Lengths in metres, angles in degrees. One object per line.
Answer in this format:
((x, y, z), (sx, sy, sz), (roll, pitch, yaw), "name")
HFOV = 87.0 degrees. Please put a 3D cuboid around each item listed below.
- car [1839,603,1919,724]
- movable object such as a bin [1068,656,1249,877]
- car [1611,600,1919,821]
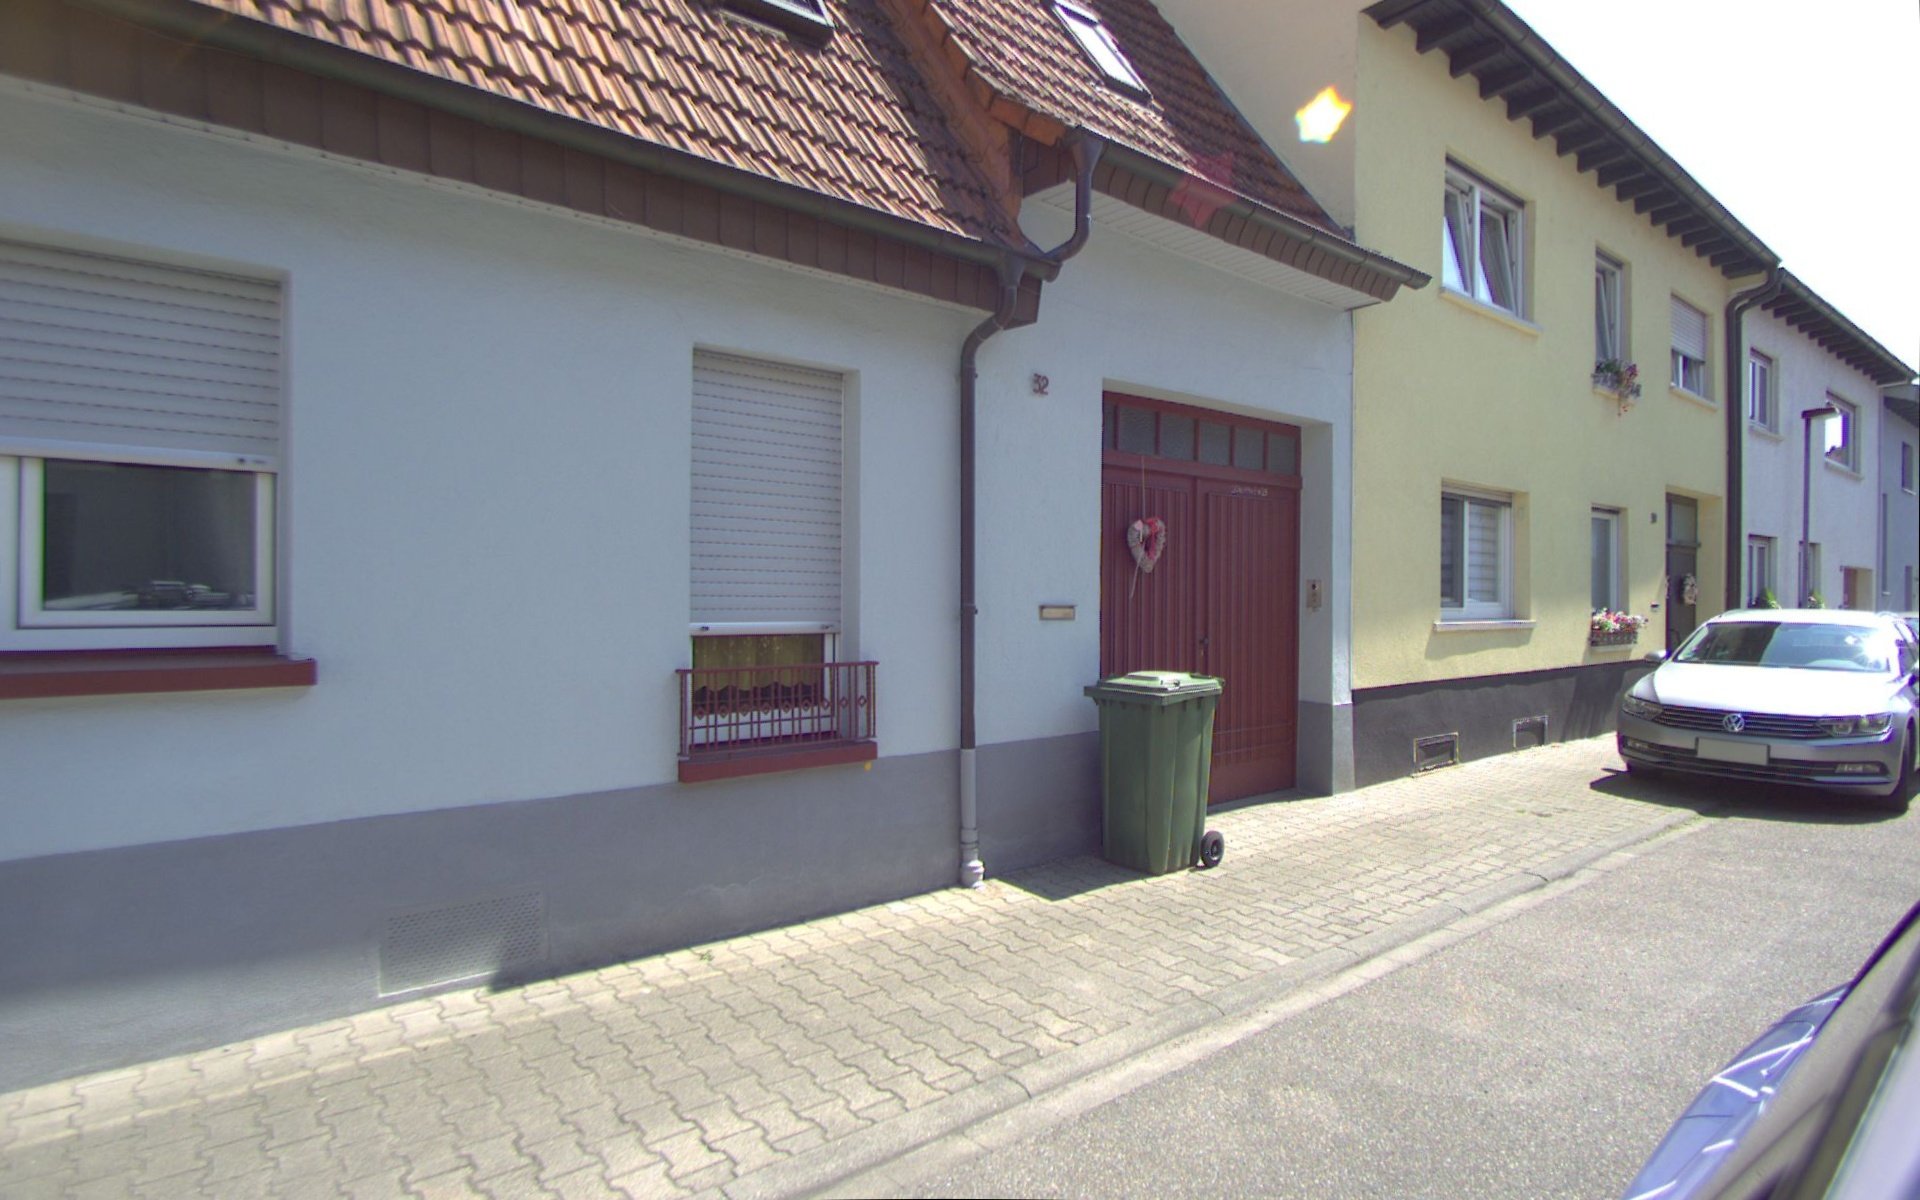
((13.282, 0.772, 13.536), (4.030, 1.453, 1.700), (0, -1, -40), "car")
((1.135, 0.892, 5.773), (0.798, 1.085, 0.660), (0, 0, -40), "movable object such as a bin")
((7.650, 0.747, 8.999), (4.691, 1.467, 1.842), (0, -1, -40), "car")
